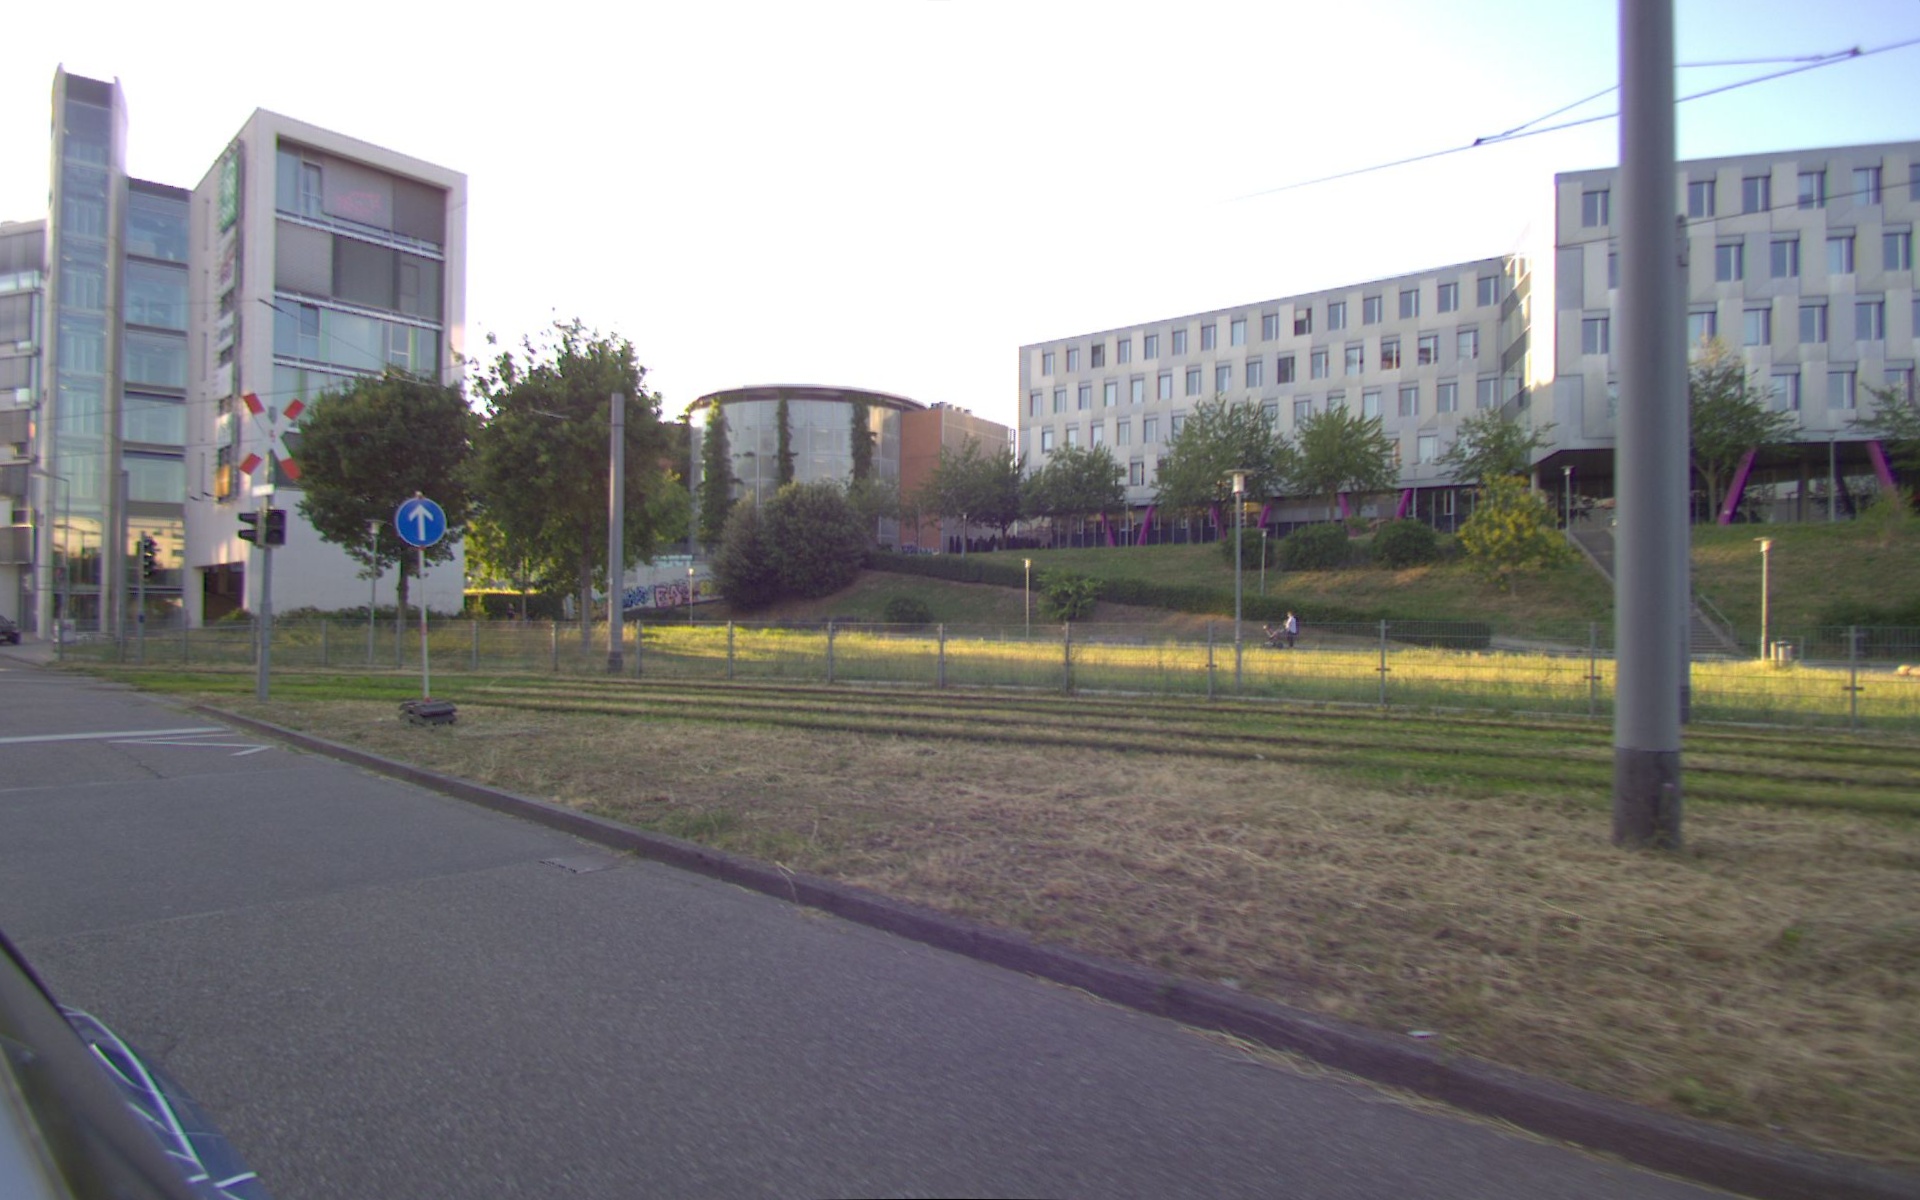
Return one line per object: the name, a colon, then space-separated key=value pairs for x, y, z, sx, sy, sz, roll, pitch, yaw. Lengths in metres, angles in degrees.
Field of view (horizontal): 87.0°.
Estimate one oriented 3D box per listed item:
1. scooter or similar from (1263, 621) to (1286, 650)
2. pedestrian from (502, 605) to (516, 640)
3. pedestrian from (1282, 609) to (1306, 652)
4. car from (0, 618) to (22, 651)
scooter or similar: x=13.962 y=1.583 z=44.916 sx=0.790 sy=1.253 sz=0.610 roll=-1 pitch=0 yaw=41
pedestrian: x=-23.630 y=1.167 z=53.042 sx=0.480 sy=1.850 sz=0.446 roll=-1 pitch=0 yaw=22
pedestrian: x=14.599 y=1.310 z=44.236 sx=0.790 sy=1.850 sz=0.610 roll=-1 pitch=0 yaw=41
car: x=-44.956 y=1.582 z=46.470 sx=4.216 sy=1.453 sz=1.838 roll=-1 pitch=1 yaw=33
